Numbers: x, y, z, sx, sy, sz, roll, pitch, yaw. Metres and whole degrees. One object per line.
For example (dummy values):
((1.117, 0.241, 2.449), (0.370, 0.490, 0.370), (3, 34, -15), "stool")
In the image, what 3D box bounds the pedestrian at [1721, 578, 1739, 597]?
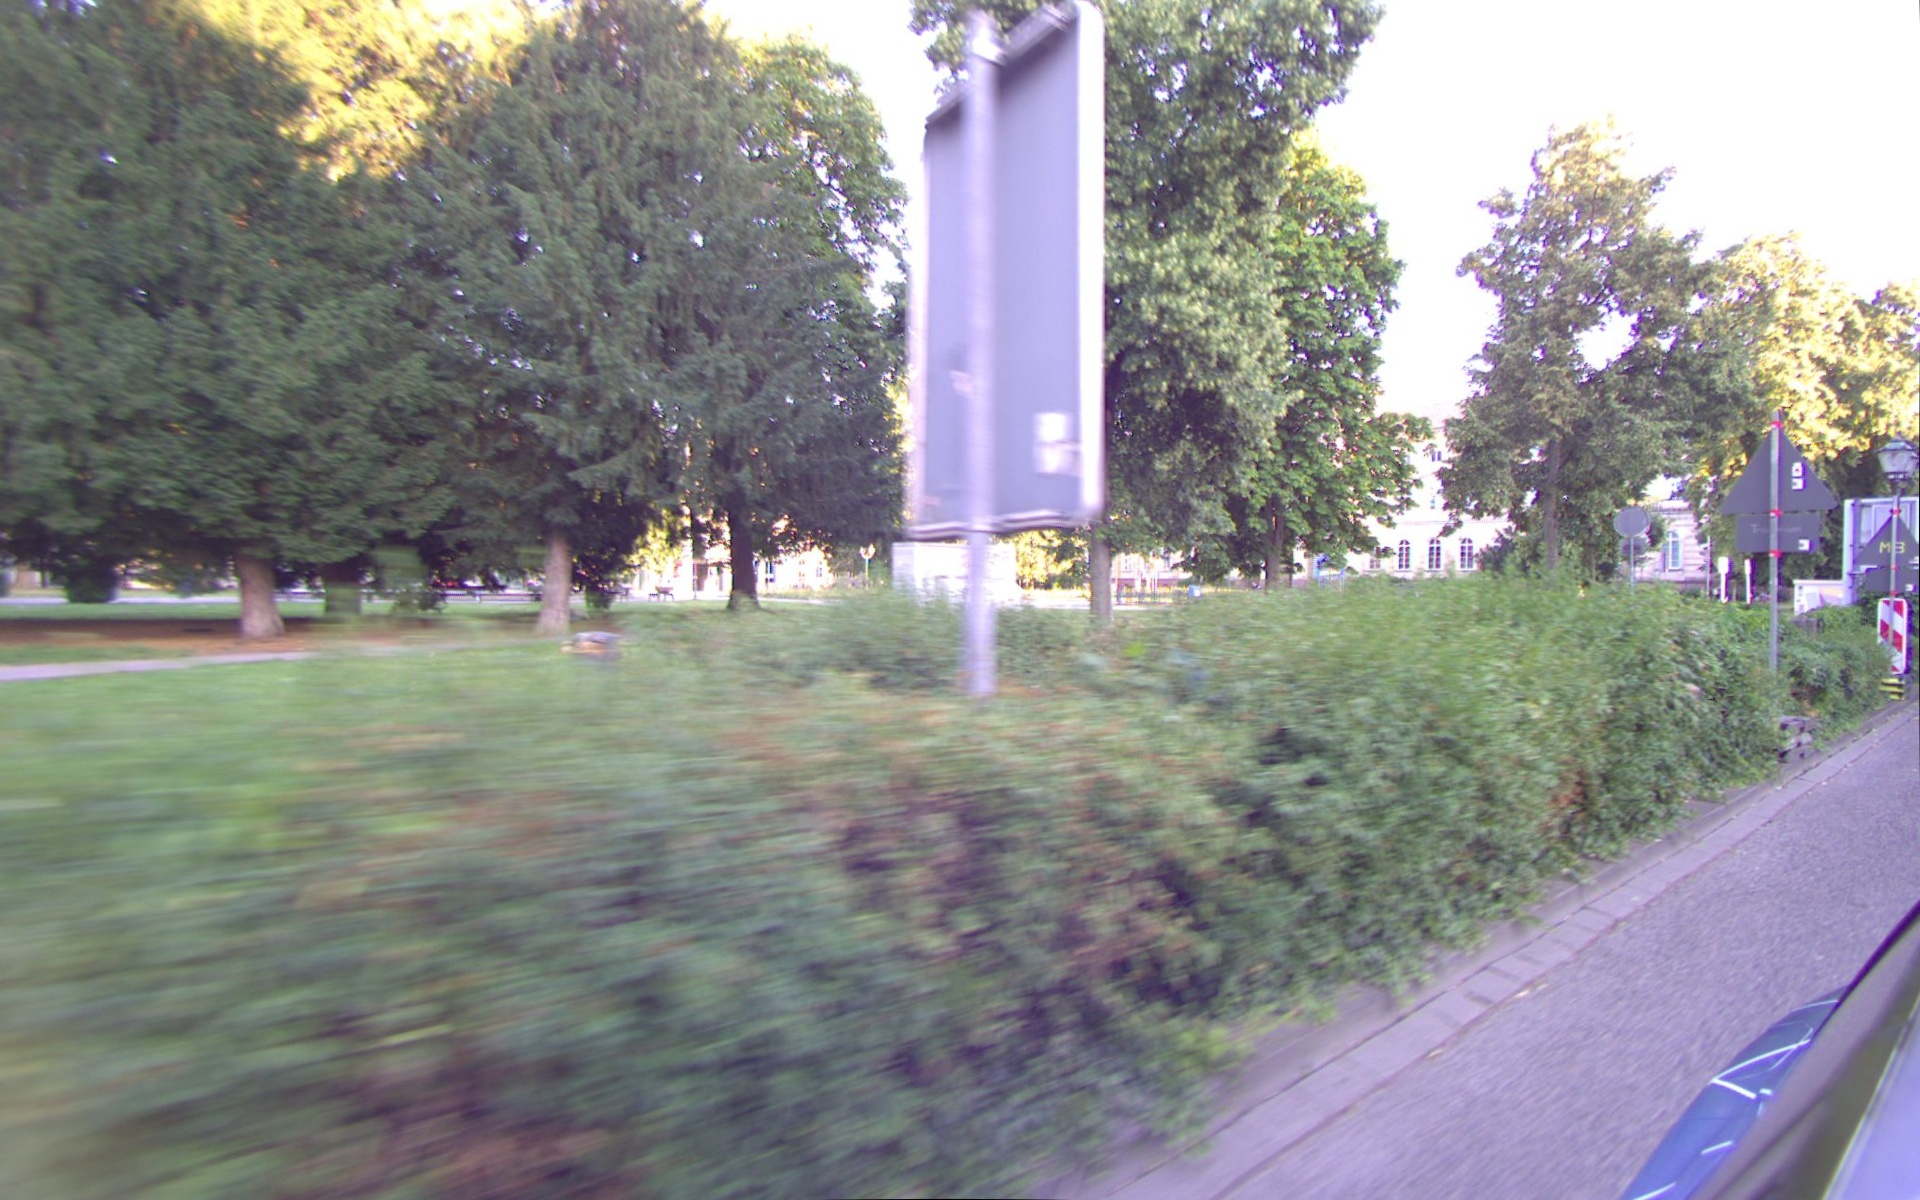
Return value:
((57.954, -0.938, 76.183), (0.742, 1.462, 0.815), (1, 1, 14), "pedestrian")

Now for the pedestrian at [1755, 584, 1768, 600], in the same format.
((54.247, -0.518, 68.497), (0.595, 1.064, 0.393), (1, 1, 16), "pedestrian")

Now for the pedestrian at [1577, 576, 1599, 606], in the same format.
((34.408, -0.497, 55.408), (0.745, 1.646, 0.857), (0, 1, -45), "pedestrian")

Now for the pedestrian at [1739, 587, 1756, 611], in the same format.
((40.181, -0.056, 51.647), (0.606, 1.219, 0.656), (1, 1, 43), "pedestrian")

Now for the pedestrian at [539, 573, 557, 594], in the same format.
((-28.215, -1.127, 69.269), (0.819, 1.387, 1.150), (1, 0, -4), "pedestrian")

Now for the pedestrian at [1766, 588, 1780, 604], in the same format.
((54.488, -0.274, 67.861), (0.595, 1.064, 0.394), (1, 1, 13), "pedestrian")

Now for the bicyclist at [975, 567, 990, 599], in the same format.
((1.180, -0.898, 53.418), (0.667, 1.652, 0.656), (1, 1, 14), "bicyclist")

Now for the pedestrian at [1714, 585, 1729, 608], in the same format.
((39.330, -0.185, 52.246), (0.526, 1.219, 0.955), (1, 1, 43), "pedestrian")

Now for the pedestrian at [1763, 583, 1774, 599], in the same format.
((55.110, -0.610, 68.999), (0.390, 1.064, 0.601), (1, 1, 18), "pedestrian")

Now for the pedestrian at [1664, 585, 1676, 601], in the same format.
((49.665, -0.484, 70.798), (0.593, 1.123, 0.395), (1, 1, 4), "pedestrian")

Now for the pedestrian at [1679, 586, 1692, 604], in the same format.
((50.592, -0.363, 70.607), (0.594, 1.217, 0.394), (1, 1, 8), "pedestrian")

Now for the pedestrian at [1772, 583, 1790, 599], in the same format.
((55.340, -0.581, 68.223), (0.785, 1.064, 0.394), (1, 1, 13), "pedestrian")

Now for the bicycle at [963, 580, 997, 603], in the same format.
((1.063, -0.440, 53.454), (1.749, 1.191, 0.563), (1, 1, 15), "bicycle")
